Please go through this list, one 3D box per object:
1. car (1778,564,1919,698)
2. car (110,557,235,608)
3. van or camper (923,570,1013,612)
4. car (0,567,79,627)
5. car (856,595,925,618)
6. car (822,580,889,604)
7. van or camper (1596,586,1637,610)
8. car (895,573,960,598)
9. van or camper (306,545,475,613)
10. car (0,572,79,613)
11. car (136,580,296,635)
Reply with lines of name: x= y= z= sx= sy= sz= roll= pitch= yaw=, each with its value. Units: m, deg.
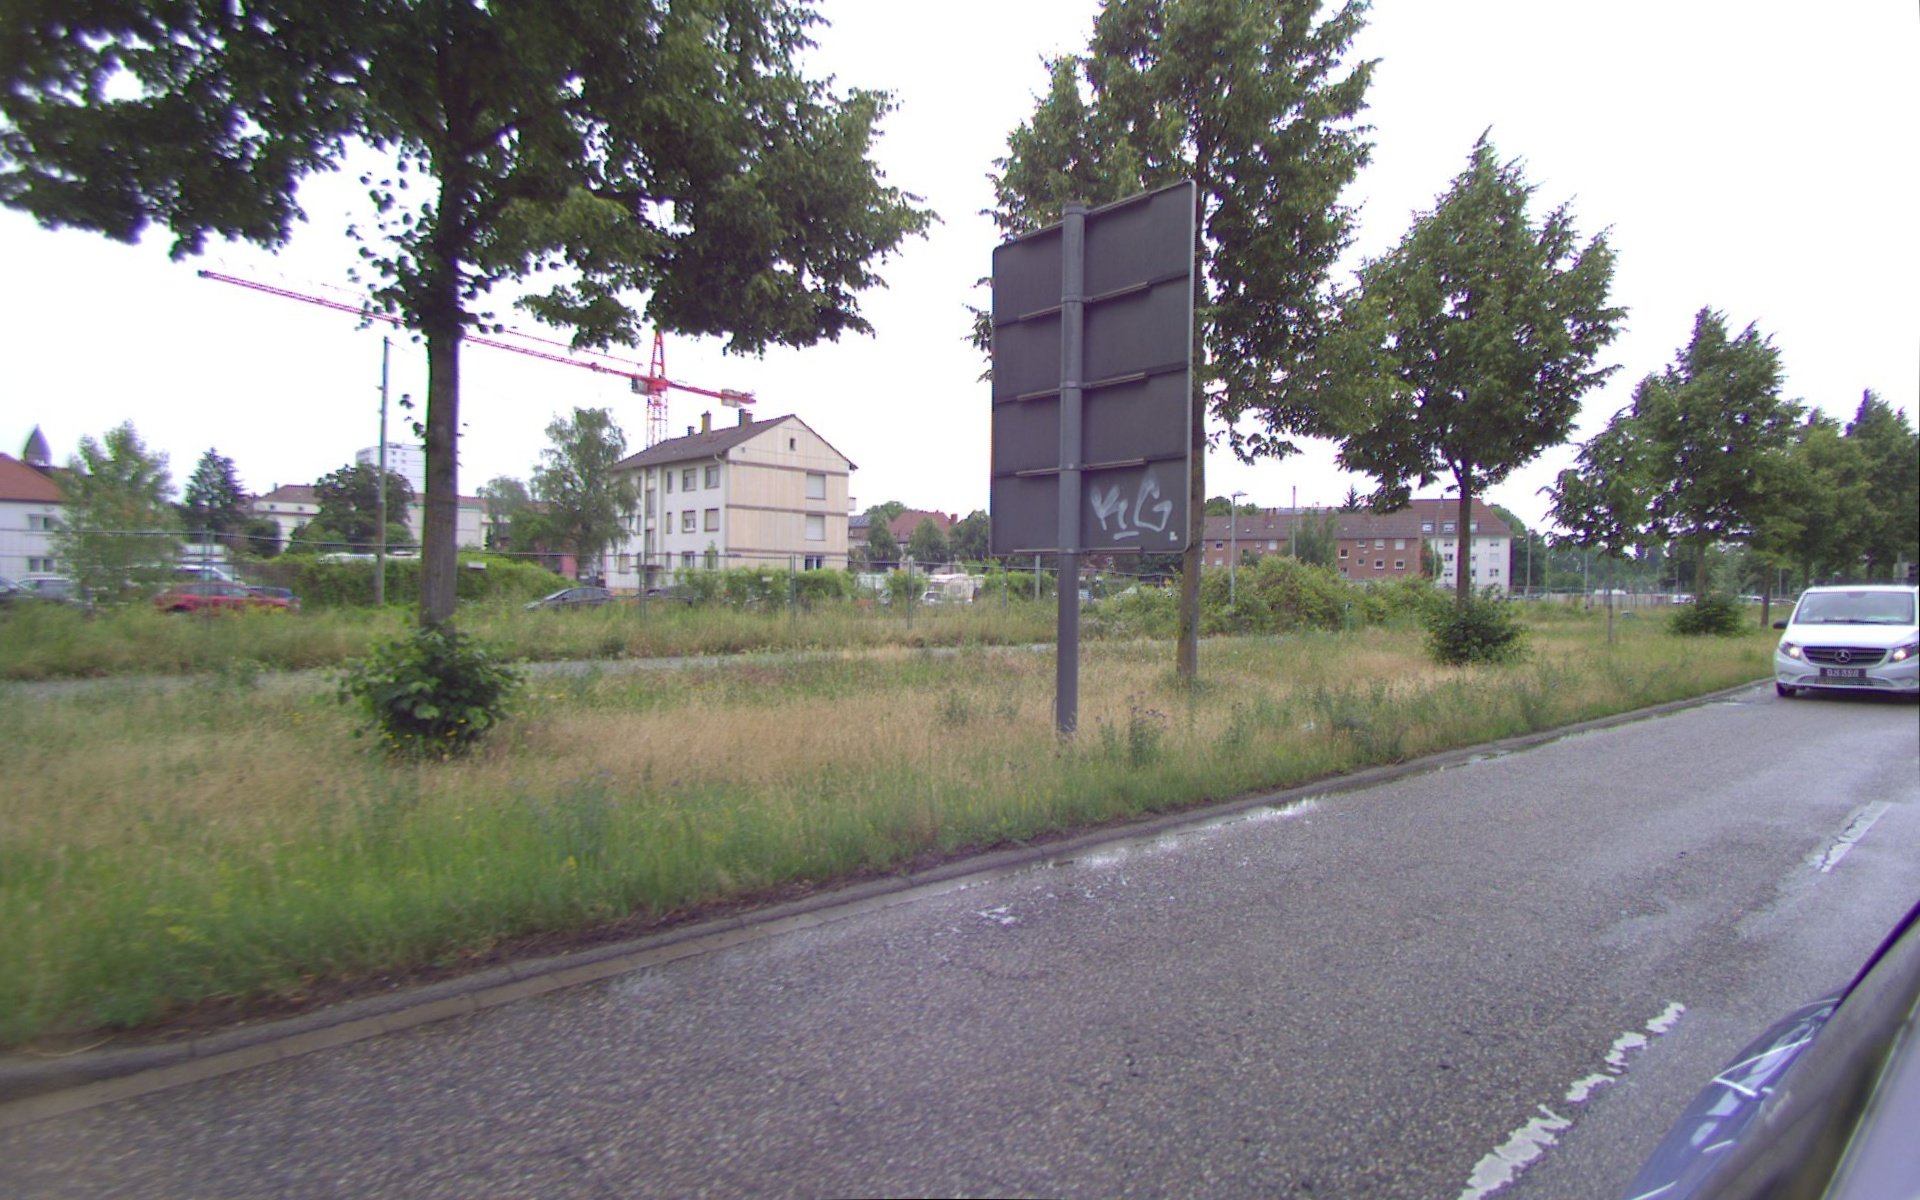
car: x=15.761 y=0.441 z=17.331 sx=5.004 sy=2.004 sz=1.970 roll=0 pitch=1 yaw=-42
car: x=-33.228 y=-0.722 z=42.737 sx=4.091 sy=2.030 sz=1.699 roll=0 pitch=1 yaw=-41
van or camper: x=0.587 y=-0.602 z=68.619 sx=6.291 sy=2.723 sz=2.310 roll=0 pitch=1 yaw=-44
car: x=-27.013 y=-0.103 z=27.723 sx=4.153 sy=1.621 sz=1.861 roll=0 pitch=0 yaw=-36
car: x=-4.186 y=0.380 z=61.310 sx=3.961 sy=1.369 sz=1.699 roll=0 pitch=1 yaw=-41
car: x=-6.555 y=-0.490 z=63.940 sx=3.961 sy=1.450 sz=1.699 roll=0 pitch=1 yaw=-41
van or camper: x=87.636 y=-0.242 z=135.088 sx=5.400 sy=3.074 sz=2.348 roll=0 pitch=-1 yaw=-31
car: x=-2.571 y=-1.129 z=81.080 sx=2.163 sy=1.918 sz=5.122 roll=1 pitch=1 yaw=45
van or camper: x=-27.473 y=-0.964 z=48.969 sx=6.659 sy=3.031 sz=2.911 roll=0 pitch=1 yaw=-41
car: x=-37.059 y=-0.305 z=39.514 sx=3.961 sy=1.601 sz=1.699 roll=0 pitch=1 yaw=-41
car: x=-23.100 y=0.203 z=31.564 sx=3.925 sy=1.621 sz=1.861 roll=0 pitch=0 yaw=-36
